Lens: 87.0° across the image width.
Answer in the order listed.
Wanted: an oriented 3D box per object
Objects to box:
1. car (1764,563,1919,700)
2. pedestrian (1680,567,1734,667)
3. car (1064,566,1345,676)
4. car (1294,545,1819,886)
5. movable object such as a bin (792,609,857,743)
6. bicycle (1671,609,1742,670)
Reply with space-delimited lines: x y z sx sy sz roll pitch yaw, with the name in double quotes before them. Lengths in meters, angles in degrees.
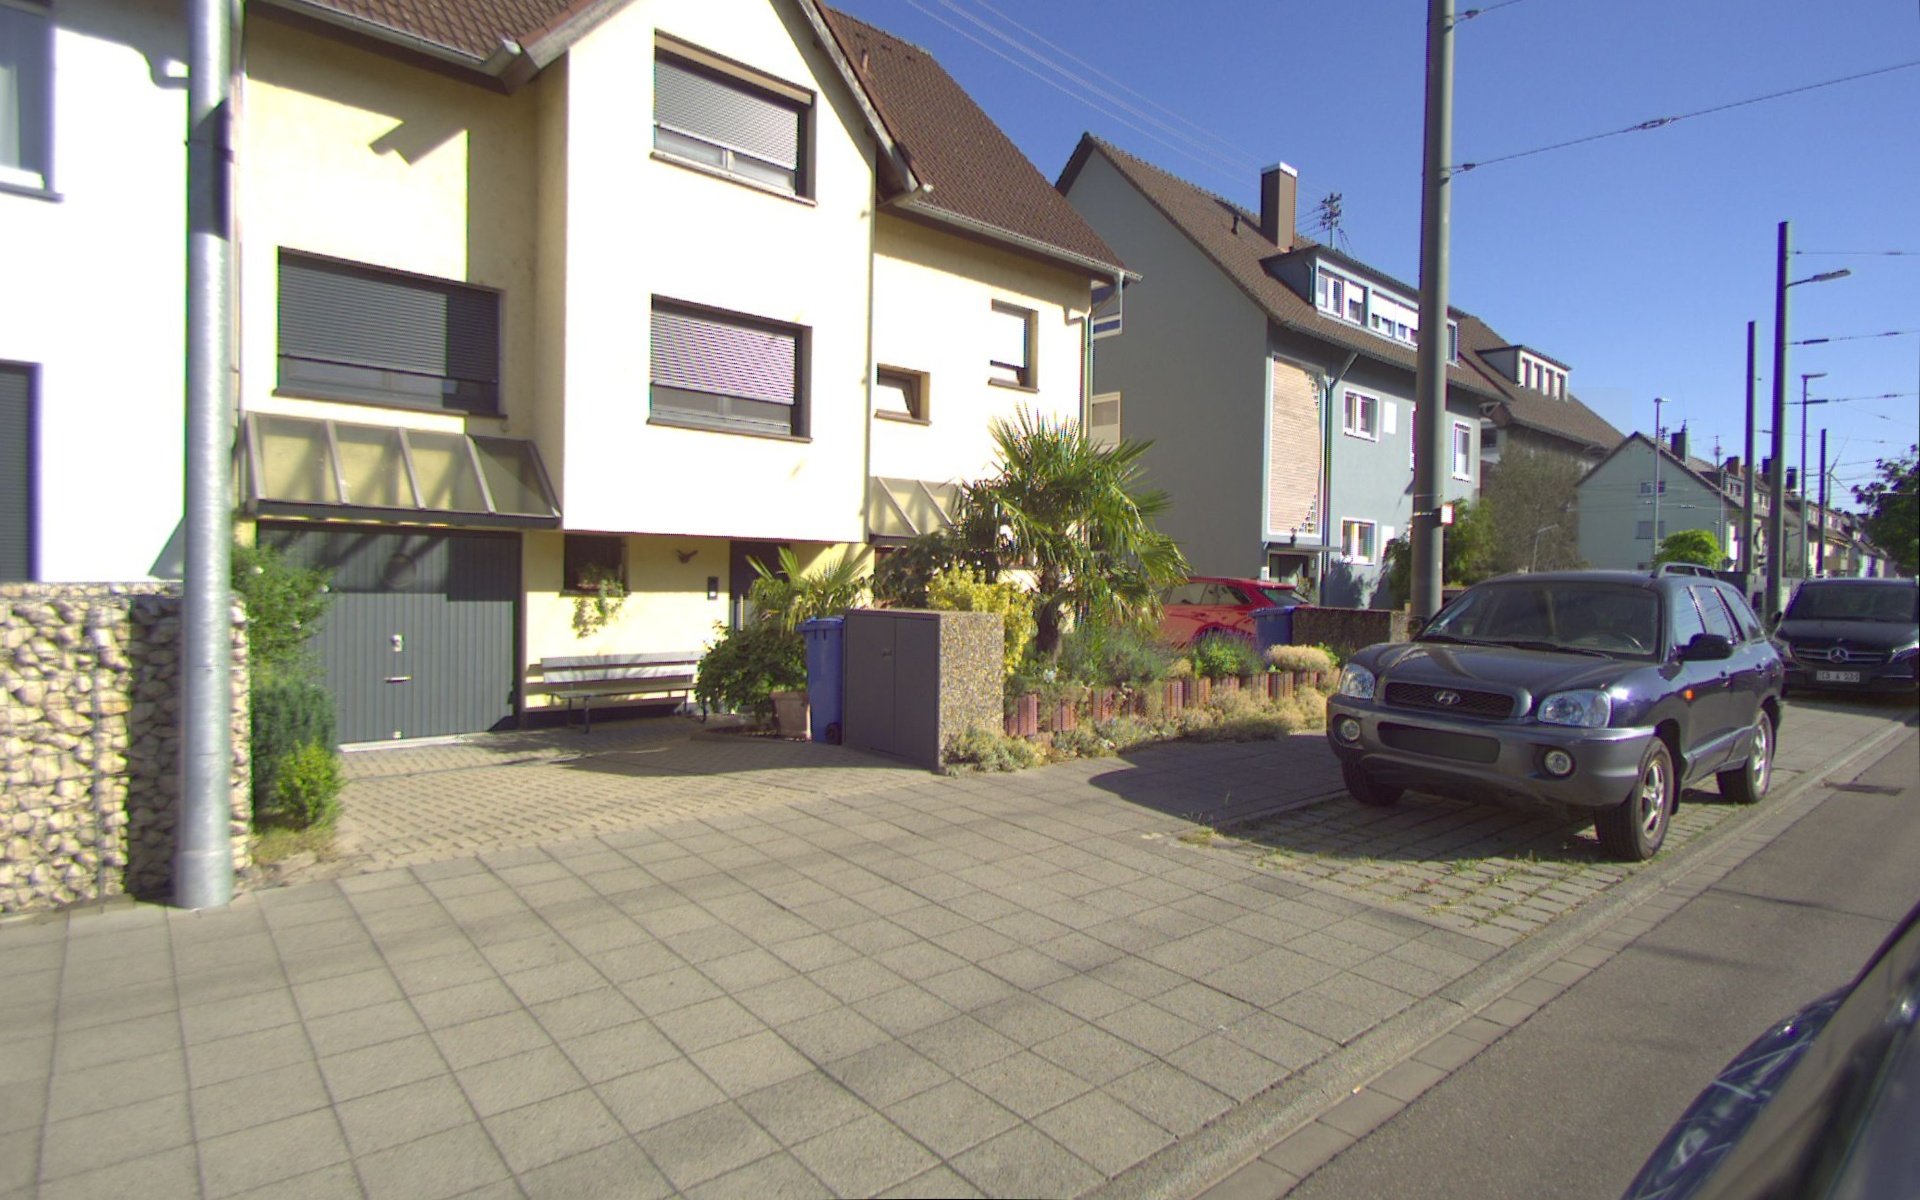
"car" 14.620 0.413 16.114 4.841 1.859 1.965 0 2 -41
"pedestrian" 13.408 0.291 18.166 0.702 1.744 0.584 0 2 -39
"car" 3.912 0.264 16.714 1.867 1.486 4.173 1 2 -41
"car" 4.384 0.531 7.116 4.395 1.680 1.858 0 2 -41
"movable object such as a bin" -1.135 0.620 8.438 0.557 1.076 0.202 -3 -1 44
"bicycle" 13.452 0.697 18.223 1.534 0.991 0.602 0 4 -39
